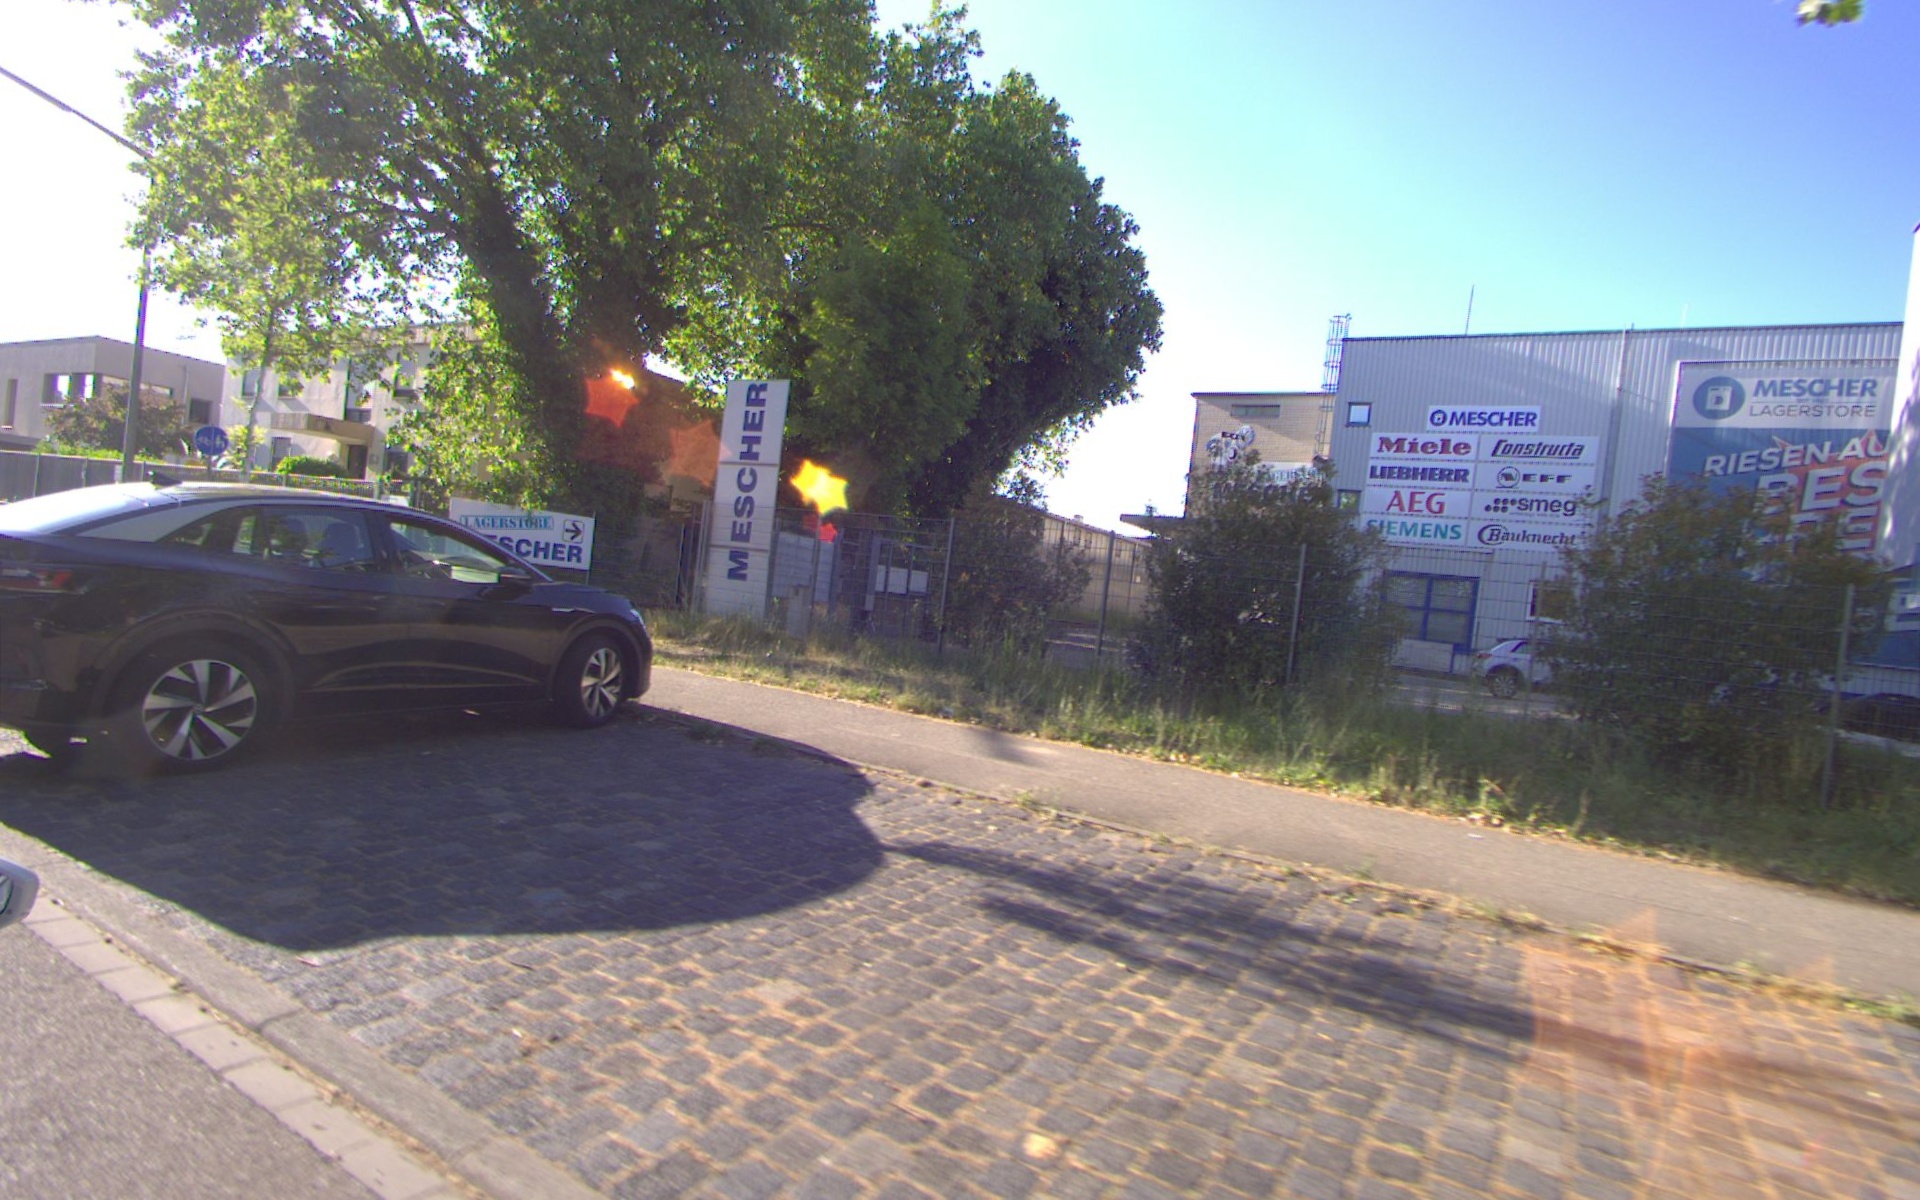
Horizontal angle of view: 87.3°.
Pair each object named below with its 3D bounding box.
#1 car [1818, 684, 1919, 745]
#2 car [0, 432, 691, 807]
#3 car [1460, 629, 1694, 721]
[{"bbox_3d":[26.093,3.246,27.261,3.933,1.348,1.873,7,-1,31],"label":"car"},{"bbox_3d":[-4.248,0.020,6.988,1.909,1.739,4.572,7,3,28],"label":"car"},{"bbox_3d":[15.257,1.844,25.215,4.690,1.564,1.998,7,-1,28],"label":"car"}]
